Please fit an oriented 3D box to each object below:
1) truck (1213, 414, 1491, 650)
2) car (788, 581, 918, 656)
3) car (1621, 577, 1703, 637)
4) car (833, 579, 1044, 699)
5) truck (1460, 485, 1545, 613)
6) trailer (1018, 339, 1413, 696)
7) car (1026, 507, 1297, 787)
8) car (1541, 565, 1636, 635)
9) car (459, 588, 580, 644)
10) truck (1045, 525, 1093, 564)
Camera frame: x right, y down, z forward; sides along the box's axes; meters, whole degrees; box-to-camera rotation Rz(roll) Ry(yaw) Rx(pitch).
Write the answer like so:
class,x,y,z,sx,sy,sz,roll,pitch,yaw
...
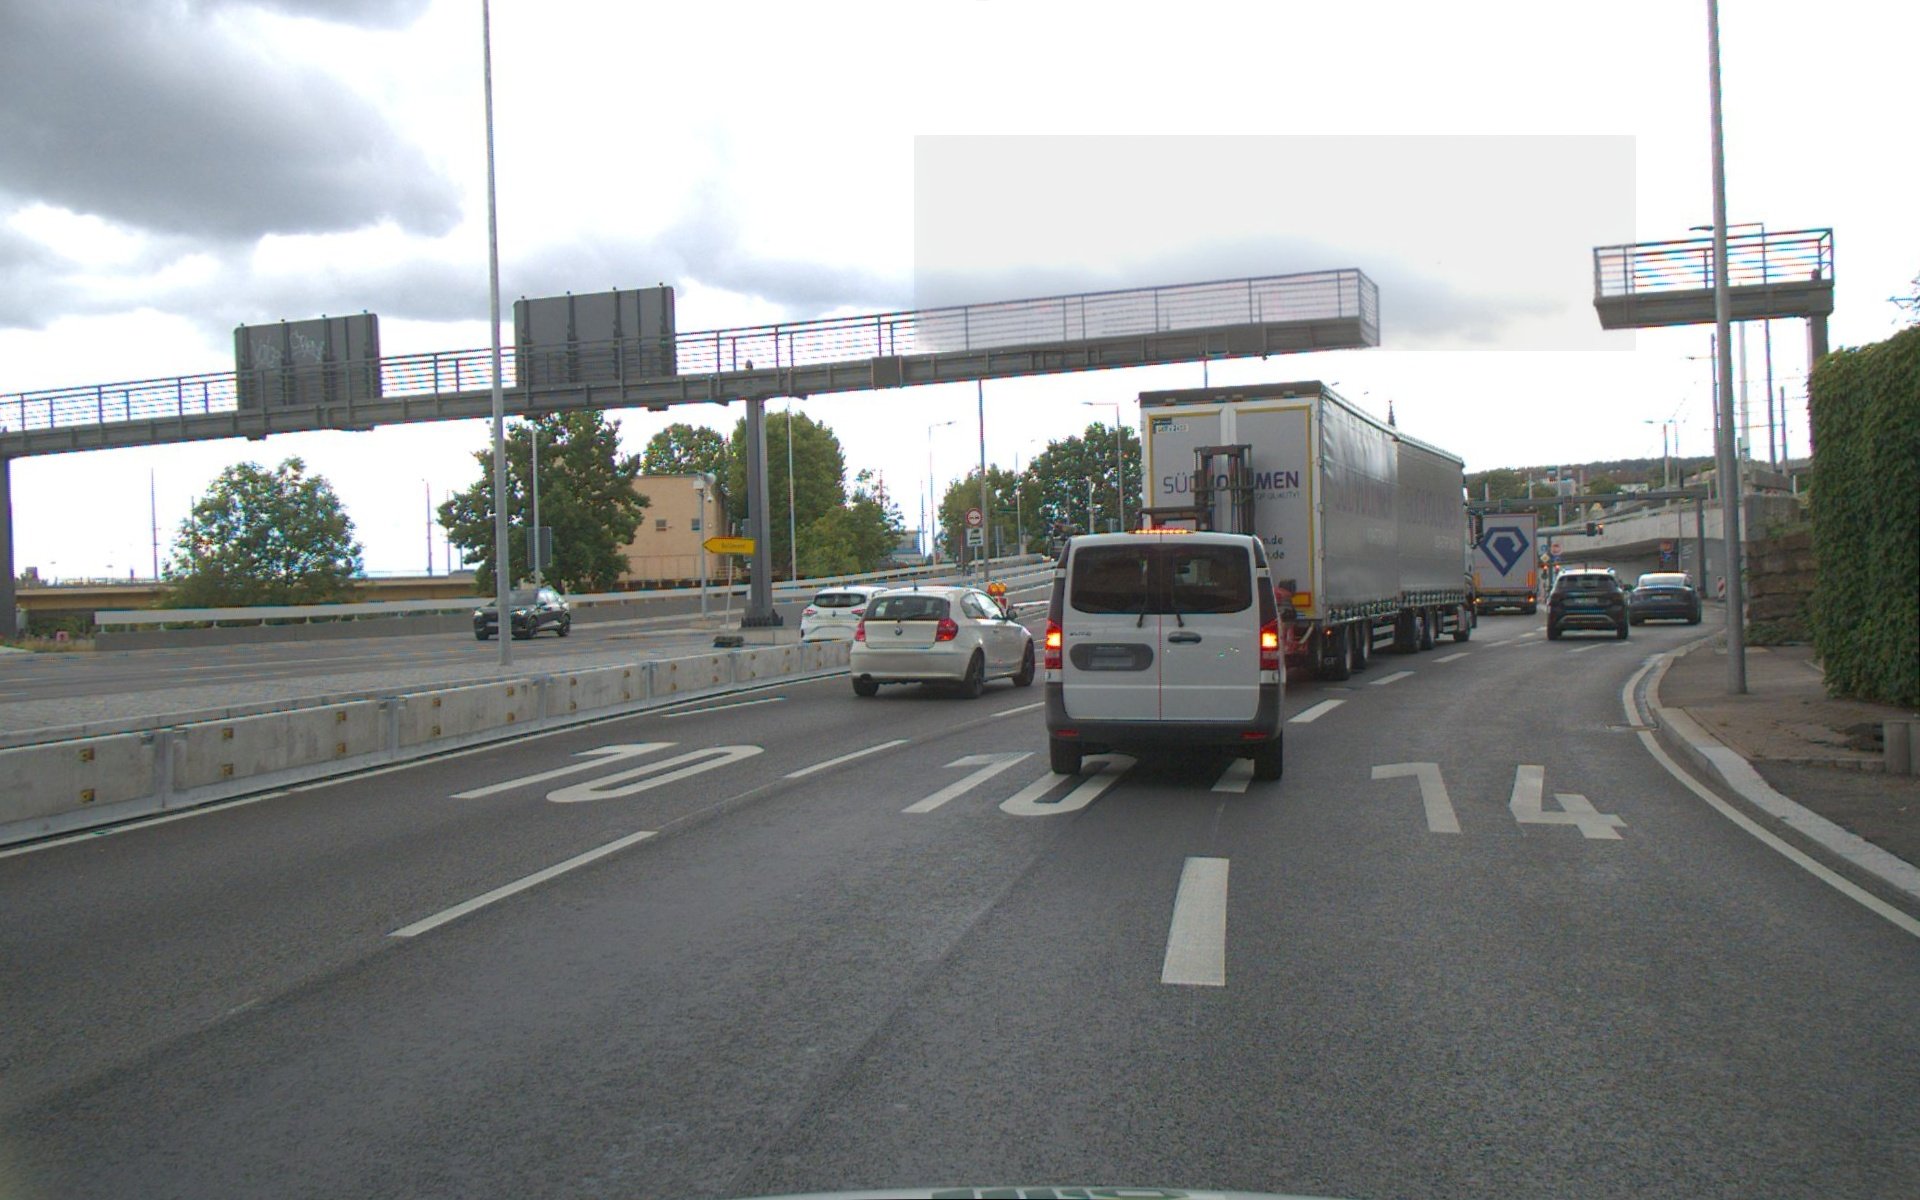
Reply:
class,x,y,z,sx,sy,sz,roll,pitch,yaw
truck,8.719,-1.244,35.284,3.650,4.214,10.976,-1,0,25
car,-2.206,0.364,35.165,1.706,1.457,3.779,2,0,13
car,20.248,0.197,47.823,1.853,1.654,4.002,0,0,19
car,-0.192,0.509,22.797,1.707,1.457,4.002,-3,-1,18
truck,22.492,-1.986,68.345,3.000,4.887,9.160,2,0,19
trailer,4.439,-1.005,25.312,3.648,4.214,10.983,-1,0,21
car,1.924,0.335,14.667,1.951,2.025,5.204,-1,0,10
car,14.545,0.033,38.454,1.853,1.546,4.001,0,-1,18
car,-13.772,0.482,51.982,1.951,1.612,4.140,2,0,12
truck,10.383,-5.332,156.779,2.674,3.448,10.631,0,3,14
